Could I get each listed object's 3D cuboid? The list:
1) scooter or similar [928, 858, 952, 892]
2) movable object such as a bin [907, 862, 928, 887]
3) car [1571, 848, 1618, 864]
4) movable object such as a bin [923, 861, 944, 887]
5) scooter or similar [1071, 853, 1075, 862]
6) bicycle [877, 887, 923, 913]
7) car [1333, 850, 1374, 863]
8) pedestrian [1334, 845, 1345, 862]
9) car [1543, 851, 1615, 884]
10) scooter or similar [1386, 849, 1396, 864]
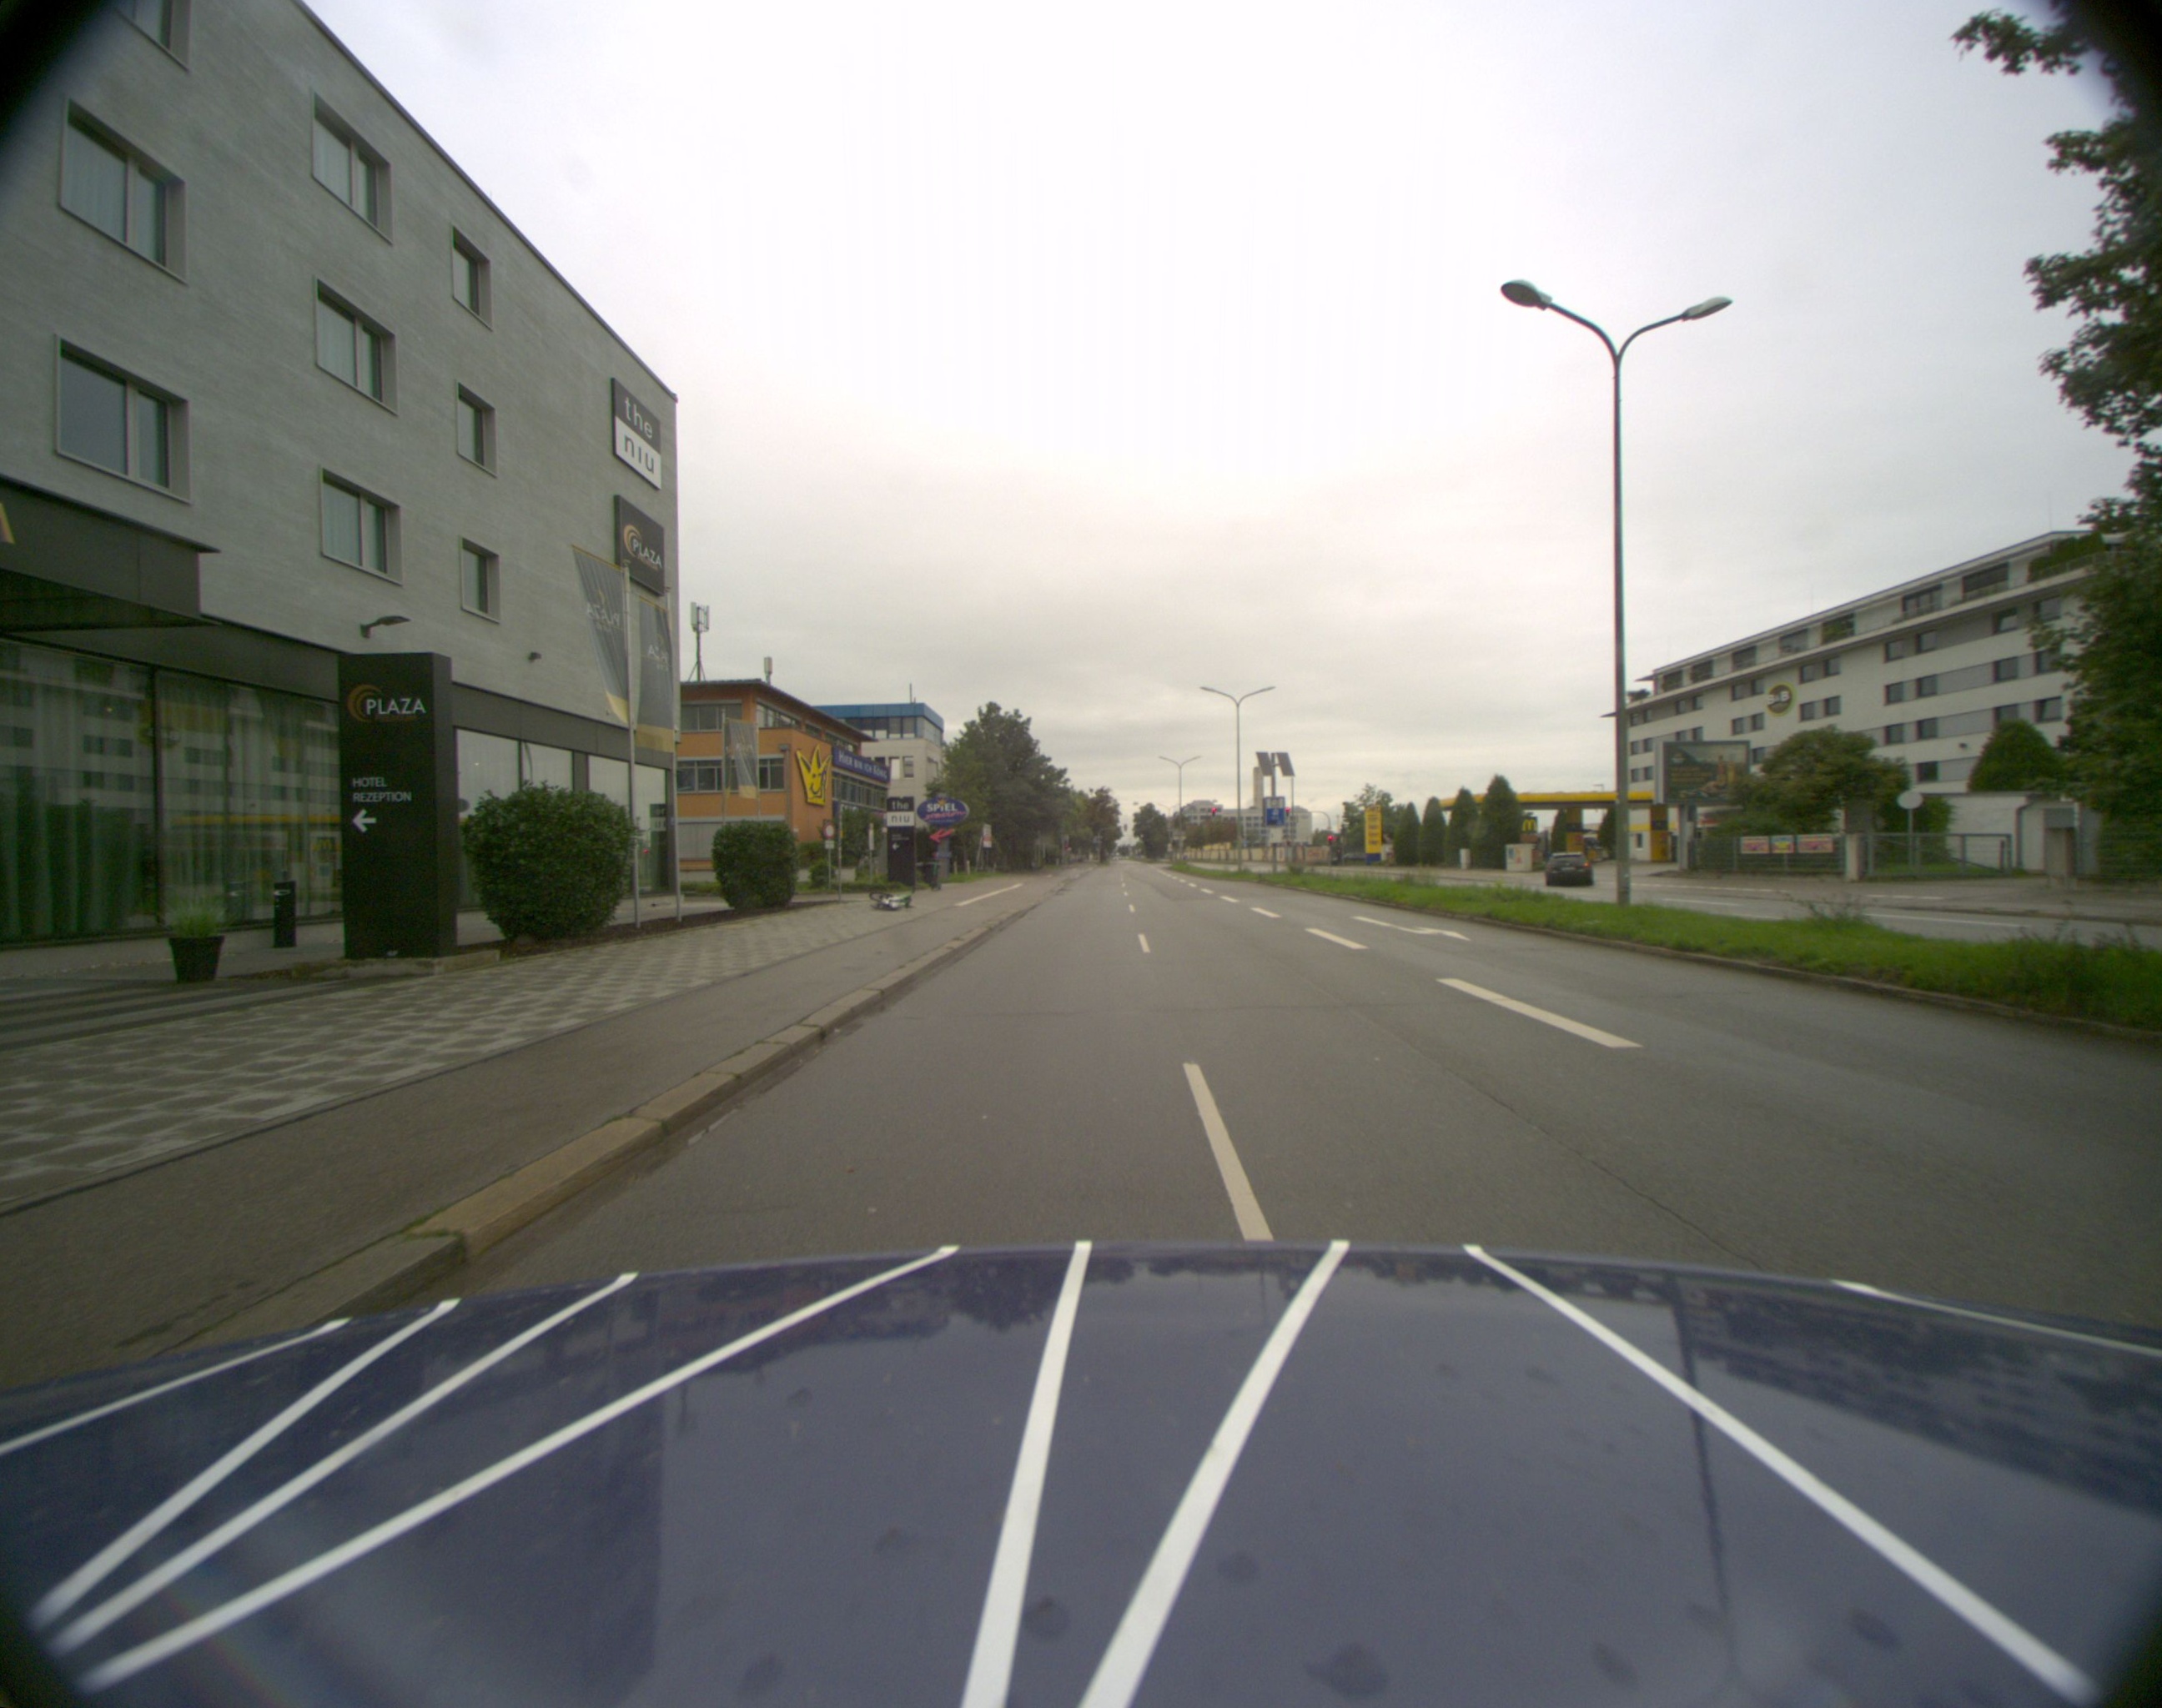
[{"bbox_3d":[-5.615,0.828,30.319,0.587,1.270,1.404,4,0,3],"label":"scooter or similar"},{"bbox_3d":[-7.041,0.879,32.710,0.738,1.072,0.655,0,0,3],"label":"movable object such as a bin"},{"bbox_3d":[51.133,0.187,75.758,1.907,1.469,4.193,0,0,2],"label":"car"},{"bbox_3d":[-6.281,0.851,32.420,0.738,1.072,0.655,0,0,3],"label":"movable object such as a bin"},{"bbox_3d":[-1.313,0.520,121.540,0.371,1.416,1.404,0,0,-13],"label":"scooter or similar"},{"bbox_3d":[-4.731,1.201,19.941,0.721,0.545,1.732,3,0,2],"label":"bicycle"},{"bbox_3d":[32.754,0.305,91.510,4.259,1.419,2.001,-1,0,5],"label":"car"},{"bbox_3d":[26.067,-0.045,76.719,0.804,1.605,0.687,-3,0,2],"label":"pedestrian"},{"bbox_3d":[22.094,0.560,33.622,1.994,1.393,4.665,1,0,42],"label":"car"},{"bbox_3d":[26.614,0.214,65.214,0.356,1.235,1.546,-3,0,7],"label":"scooter or similar"}]
